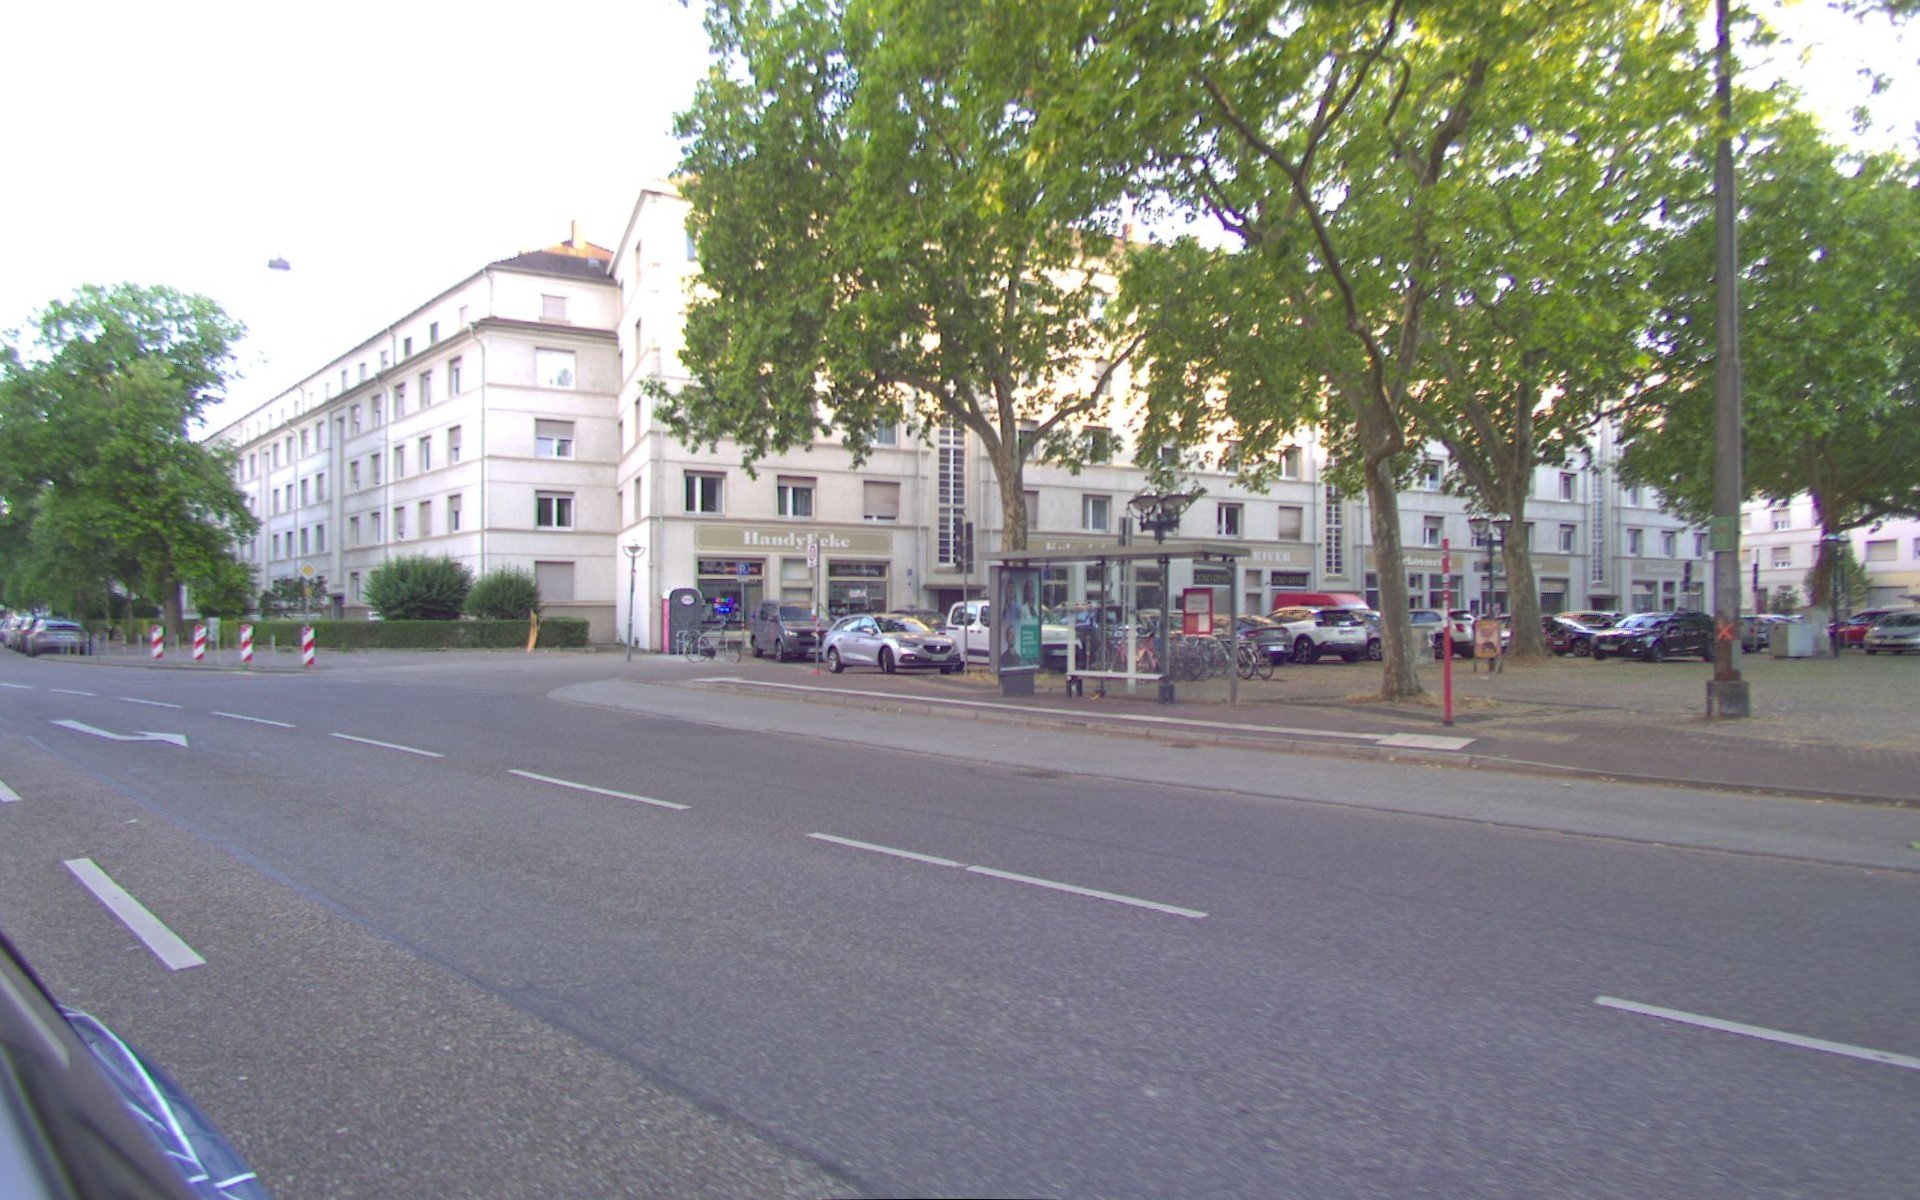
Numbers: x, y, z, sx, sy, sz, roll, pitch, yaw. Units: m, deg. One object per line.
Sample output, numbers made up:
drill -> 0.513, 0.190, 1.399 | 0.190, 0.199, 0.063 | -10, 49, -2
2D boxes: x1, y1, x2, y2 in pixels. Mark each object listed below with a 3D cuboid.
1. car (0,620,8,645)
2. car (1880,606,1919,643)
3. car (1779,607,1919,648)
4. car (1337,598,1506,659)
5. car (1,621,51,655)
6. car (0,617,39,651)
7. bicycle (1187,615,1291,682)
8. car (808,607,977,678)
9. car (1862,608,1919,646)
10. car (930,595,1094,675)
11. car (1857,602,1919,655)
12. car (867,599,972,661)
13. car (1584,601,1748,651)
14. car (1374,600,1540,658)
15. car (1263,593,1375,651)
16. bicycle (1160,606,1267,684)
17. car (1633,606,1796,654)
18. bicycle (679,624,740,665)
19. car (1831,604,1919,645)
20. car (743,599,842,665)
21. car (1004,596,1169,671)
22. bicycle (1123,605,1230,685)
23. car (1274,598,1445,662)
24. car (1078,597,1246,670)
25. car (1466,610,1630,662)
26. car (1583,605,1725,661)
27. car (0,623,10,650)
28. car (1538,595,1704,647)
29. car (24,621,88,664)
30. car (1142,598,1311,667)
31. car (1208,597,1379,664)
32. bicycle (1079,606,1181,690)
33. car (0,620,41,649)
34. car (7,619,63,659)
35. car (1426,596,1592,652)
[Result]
car -> -76.835, 2.555, 80.293 | 1.866, 1.879, 4.263 | 0, 0, -44
car -> 47.212, 1.174, 48.276 | 1.968, 1.748, 4.648 | 2, -4, -40
car -> 39.999, 1.291, 45.485 | 1.968, 1.748, 4.648 | 2, -4, -40
car -> 14.623, 0.950, 32.360 | 1.965, 1.795, 4.655 | 2, -3, -28
car -> -49.079, 1.955, 53.150 | 1.866, 1.612, 4.263 | 0, 0, -44
car -> -53.415, 1.867, 57.235 | 1.866, 1.787, 4.263 | 0, 0, -44
bicycle -> 6.330, 1.072, 23.164 | 0.680, 1.394, 2.754 | 0, 0, -24
car -> -1.749, 1.041, 24.388 | 1.967, 1.515, 4.652 | 2, -3, -35
car -> 45.150, 1.270, 46.941 | 1.968, 1.748, 4.648 | 2, -4, -40
car -> 1.166, 0.910, 25.255 | 1.965, 1.795, 4.655 | 2, -3, -28
car -> 32.526, 0.934, 34.359 | 3.696, 1.674, 1.680 | 0, 0, -23
car -> -1.537, 1.008, 35.912 | 1.965, 1.970, 4.656 | 1, 0, -26
car -> 26.537, 1.042, 38.242 | 1.965, 1.795, 4.655 | 2, -3, -28
car -> 16.465, 1.012, 33.780 | 1.965, 1.795, 4.655 | 2, -3, -28
car -> 16.108, 0.952, 45.668 | 1.965, 2.460, 4.656 | 1, 0, -26
bicycle -> 5.618, 0.951, 22.651 | 0.795, 1.626, 2.754 | 0, 0, -24
car -> 29.360, 1.209, 39.566 | 1.965, 1.748, 4.655 | 2, -3, -28
bicycle -> -7.721, 1.358, 31.160 | 1.776, 1.215, 0.649 | 0, 0, -16
car -> 42.892, 1.124, 46.002 | 1.968, 1.824, 4.658 | 2, -4, -38
car -> -5.639, 1.004, 33.569 | 1.965, 1.970, 4.656 | 1, 0, -26
car -> 3.211, 0.931, 26.712 | 1.965, 1.795, 4.655 | 2, -3, -28
bicycle -> 4.679, 0.931, 22.136 | 0.795, 1.626, 2.754 | 0, 0, -24
car -> 12.051, 0.967, 30.862 | 1.965, 1.795, 4.655 | 2, -3, -28
car -> 5.368, 0.958, 27.615 | 1.965, 1.795, 4.655 | 2, -3, -28
car -> 20.818, 1.312, 36.049 | 1.965, 1.748, 4.655 | 2, -3, -28
car -> 20.199, 0.945, 29.462 | 3.696, 1.540, 1.680 | 1, 0, -23
car -> -71.416, 2.687, 74.674 | 1.866, 1.840, 4.263 | 0, 0, -44
car -> 24.194, 0.843, 37.230 | 2.057, 1.795, 4.655 | 2, -3, -28
car -> -37.995, 1.752, 42.498 | 1.866, 1.612, 4.003 | 0, 0, -44
car -> 7.423, 0.960, 28.696 | 1.965, 1.795, 4.655 | 2, -3, -28
car -> 9.619, 0.952, 29.645 | 1.965, 1.795, 4.655 | 2, -3, -28
bicycle -> 3.500, 0.942, 21.209 | 0.680, 1.626, 2.754 | 0, 0, -24
car -> -57.129, 2.044, 61.411 | 1.866, 1.612, 4.263 | 0, 0, -44
car -> -43.874, 1.794, 47.971 | 1.866, 1.703, 4.263 | 0, 0, -44
car -> 18.634, 0.881, 34.591 | 1.965, 1.795, 4.655 | 2, -3, -28
